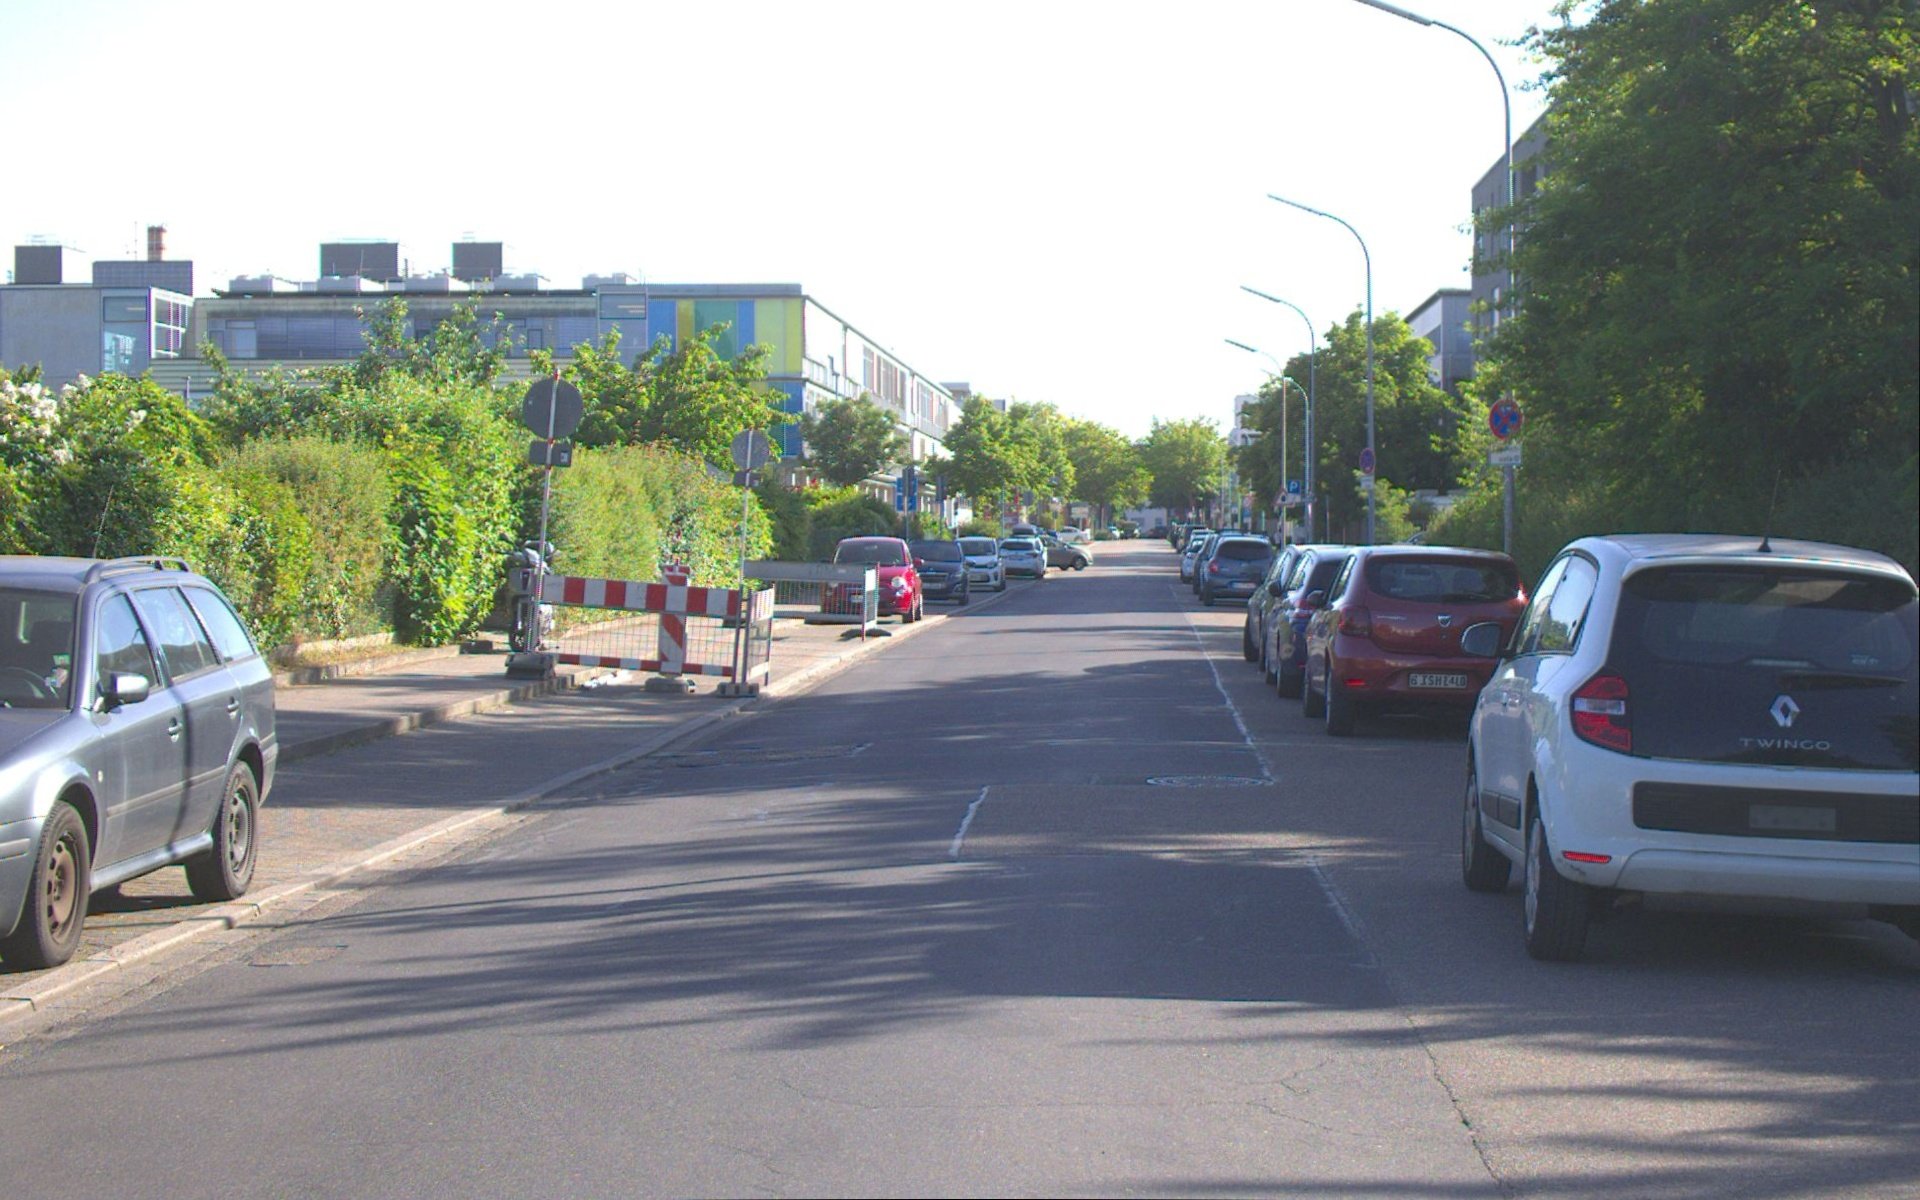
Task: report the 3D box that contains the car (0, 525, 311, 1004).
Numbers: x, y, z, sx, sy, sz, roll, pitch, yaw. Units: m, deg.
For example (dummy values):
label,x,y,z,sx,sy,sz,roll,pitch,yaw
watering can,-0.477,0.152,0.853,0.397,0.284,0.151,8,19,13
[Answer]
label,x,y,z,sx,sy,sz,roll,pitch,yaw
car,-3.996,0.525,13.755,1.644,1.551,4.417,4,2,3

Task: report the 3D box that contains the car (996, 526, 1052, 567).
label,x,y,z,sx,sy,sz,roll,pitch,yaw
car,2.340,-1.955,125.026,1.854,1.423,4.134,2,1,3

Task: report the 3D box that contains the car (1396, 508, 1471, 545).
label,x,y,z,sx,sy,sz,roll,pitch,yaw
car,21.072,-3.276,153.067,3.217,1.544,1.449,2,1,6

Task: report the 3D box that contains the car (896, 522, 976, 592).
label,x,y,z,sx,sy,sz,roll,pitch,yaw
car,-0.535,-0.996,78.699,1.560,1.489,3.570,3,1,3

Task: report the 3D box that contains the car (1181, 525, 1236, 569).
label,x,y,z,sx,sy,sz,roll,pitch,yaw
car,8.342,-1.792,115.623,1.742,1.423,4.134,2,1,3

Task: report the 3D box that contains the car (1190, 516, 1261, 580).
label,x,y,z,sx,sy,sz,roll,pitch,yaw
car,7.070,-1.395,91.776,1.742,1.619,4.178,2,1,3

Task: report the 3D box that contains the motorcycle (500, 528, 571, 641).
label,x,y,z,sx,sy,sz,roll,pitch,yaw
motorcycle,-4.895,-0.187,39.706,0.566,1.264,2.091,1,1,-1

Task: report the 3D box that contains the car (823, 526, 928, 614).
label,x,y,z,sx,sy,sz,roll,pitch,yaw
car,-1.461,-0.543,60.421,1.560,1.489,3.570,0,1,3

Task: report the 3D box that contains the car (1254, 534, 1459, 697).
label,x,y,z,sx,sy,sz,roll,pitch,yaw
car,3.908,0.103,34.492,1.655,1.440,4.656,2,1,2

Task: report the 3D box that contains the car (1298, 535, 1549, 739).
label,x,y,z,sx,sy,sz,roll,pitch,yaw
car,3.752,0.247,28.364,1.655,1.481,3.839,2,1,2

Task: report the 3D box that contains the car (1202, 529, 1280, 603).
label,x,y,z,sx,sy,sz,roll,pitch,yaw
car,6.217,-0.771,76.322,1.623,1.521,3.901,2,1,4

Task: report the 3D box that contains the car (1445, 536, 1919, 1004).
label,x,y,z,sx,sy,sz,roll,pitch,yaw
car,2.876,0.553,13.542,1.556,1.533,3.555,2,1,3

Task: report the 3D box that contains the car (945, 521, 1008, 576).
label,x,y,z,sx,sy,sz,roll,pitch,yaw
car,0.470,-1.437,95.709,1.560,1.489,3.758,0,1,3

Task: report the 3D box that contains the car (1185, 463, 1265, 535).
label,x,y,z,sx,sy,sz,roll,pitch,yaw
car,6.270,-2.383,81.584,1.676,1.603,4.179,2,1,2

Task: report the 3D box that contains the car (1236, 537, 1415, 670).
label,x,y,z,sx,sy,sz,roll,pitch,yaw
car,4.338,-0.001,41.383,1.754,1.408,4.656,2,1,2
